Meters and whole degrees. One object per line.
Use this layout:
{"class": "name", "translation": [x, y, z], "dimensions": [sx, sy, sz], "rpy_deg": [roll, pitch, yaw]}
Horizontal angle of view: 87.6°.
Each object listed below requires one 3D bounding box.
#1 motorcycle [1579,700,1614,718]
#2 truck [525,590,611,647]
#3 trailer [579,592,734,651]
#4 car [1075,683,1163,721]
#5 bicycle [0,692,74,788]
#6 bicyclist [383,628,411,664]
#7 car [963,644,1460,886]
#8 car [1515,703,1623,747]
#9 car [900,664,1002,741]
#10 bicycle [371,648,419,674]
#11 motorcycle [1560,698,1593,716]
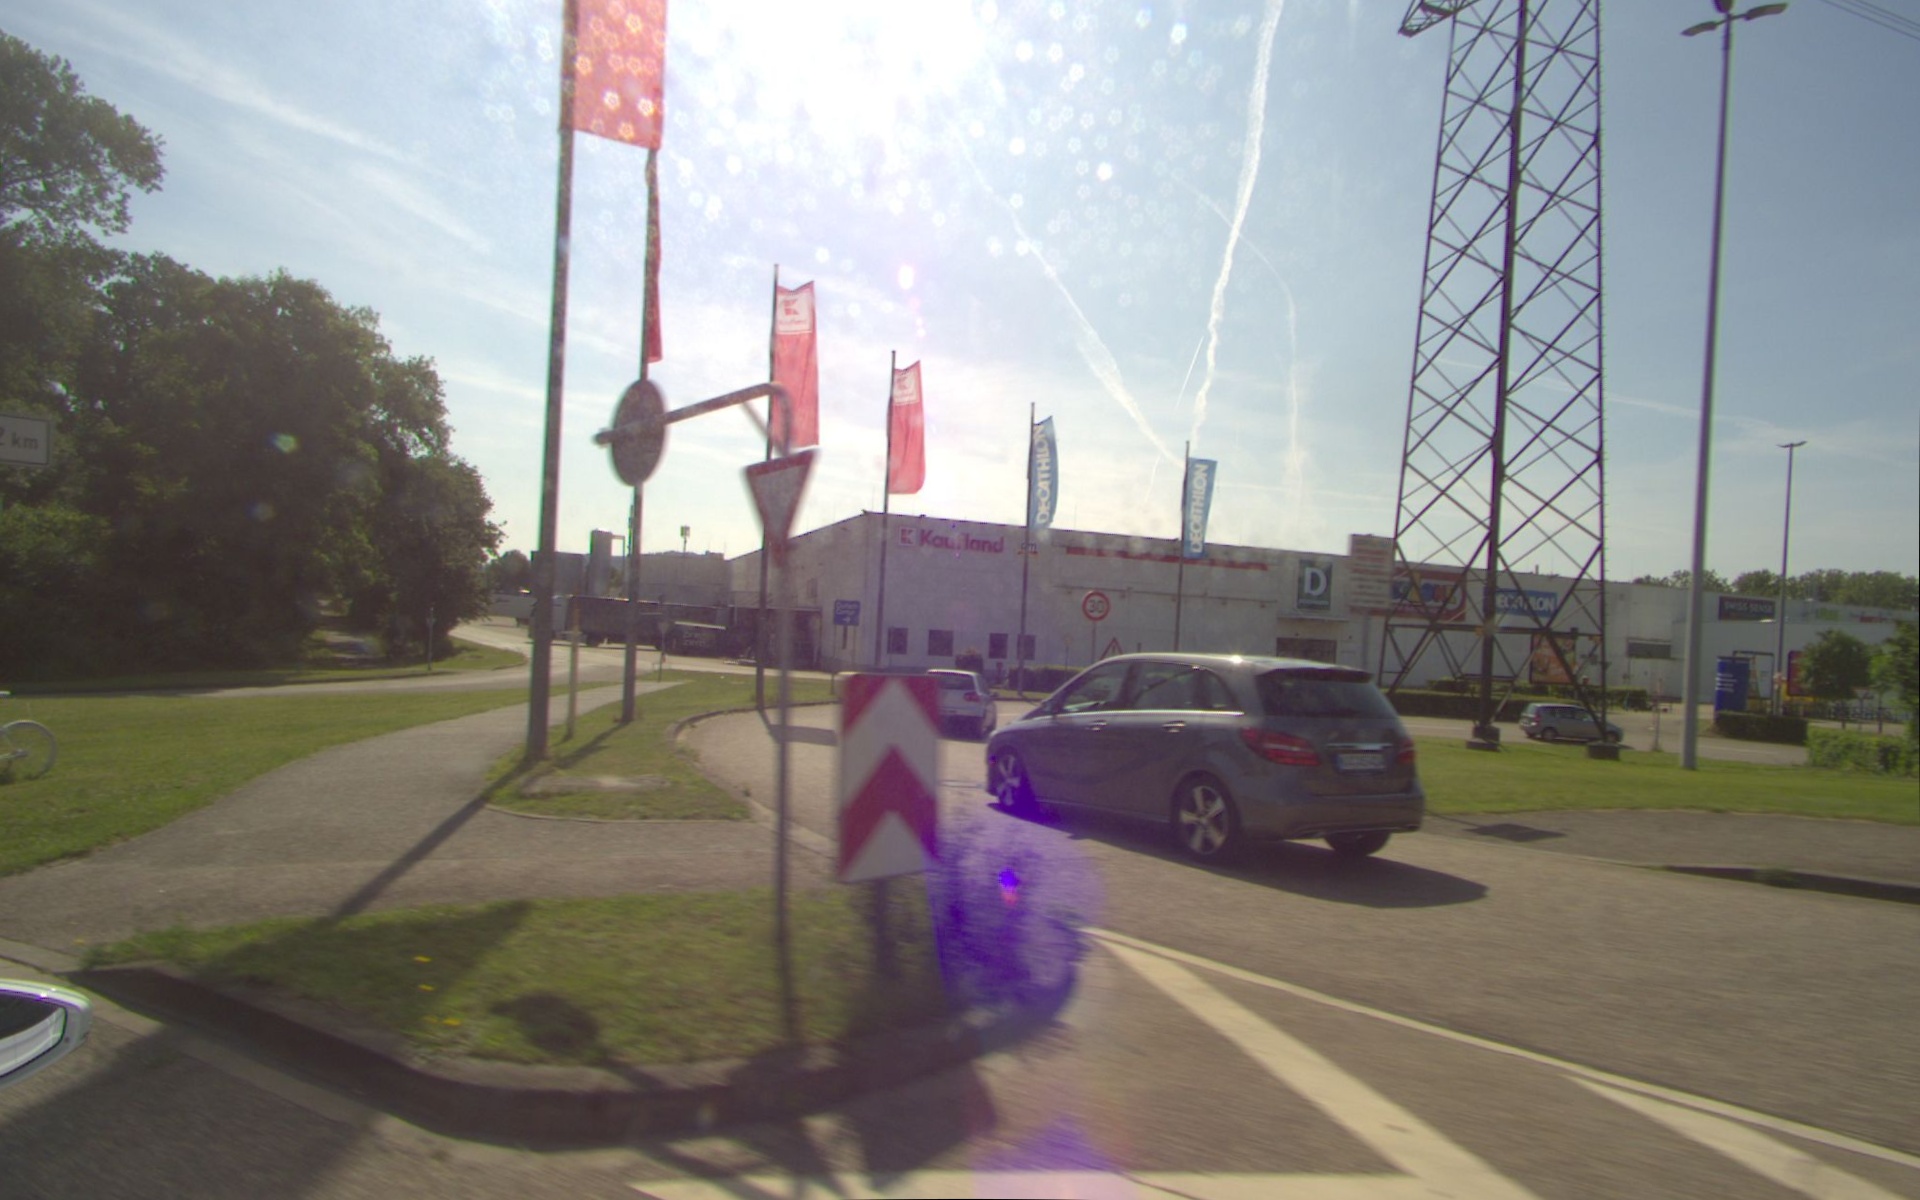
{"class": "motorcycle", "translation": [36.215, 6.186, 57.005], "dimensions": [0.429, 0.824, 1.694], "rpy_deg": [3, -1, -26]}
{"class": "truck", "translation": [-33.075, 1.555, 84.468], "dimensions": [6.463, 4.474, 3.743], "rpy_deg": [3, -1, -23]}
{"class": "trailer", "translation": [-26.431, 1.923, 87.375], "dimensions": [12.514, 4.474, 3.743], "rpy_deg": [3, -1, -23]}
{"class": "car", "translation": [6.284, 3.969, 39.317], "dimensions": [1.757, 1.348, 3.716], "rpy_deg": [0, -4, 39]}
{"class": "bicycle", "translation": [-9.590, 1.381, 9.590], "dimensions": [0.266, 0.900, 1.788], "rpy_deg": [0, -2, 16]}
{"class": "bicyclist", "translation": [-25.198, 2.063, 44.803], "dimensions": [0.832, 1.554, 0.675], "rpy_deg": [2, 0, 26]}
{"class": "car", "translation": [1.869, 1.222, 8.704], "dimensions": [1.837, 1.547, 4.125], "rpy_deg": [5, -5, -29]}
{"class": "car", "translation": [25.387, 5.195, 41.819], "dimensions": [3.425, 1.503, 1.623], "rpy_deg": [3, -1, 9]}
{"class": "car", "translation": [-0.115, 2.438, 24.061], "dimensions": [1.826, 1.547, 4.149], "rpy_deg": [4, -5, 8]}
{"class": "bicycle", "translation": [-25.312, 2.722, 44.847], "dimensions": [2.151, 0.990, 0.724], "rpy_deg": [3, 0, 27]}
{"class": "motorcycle", "translation": [34.886, 6.064, 56.677], "dimensions": [0.382, 0.824, 1.698], "rpy_deg": [3, -1, -17]}
